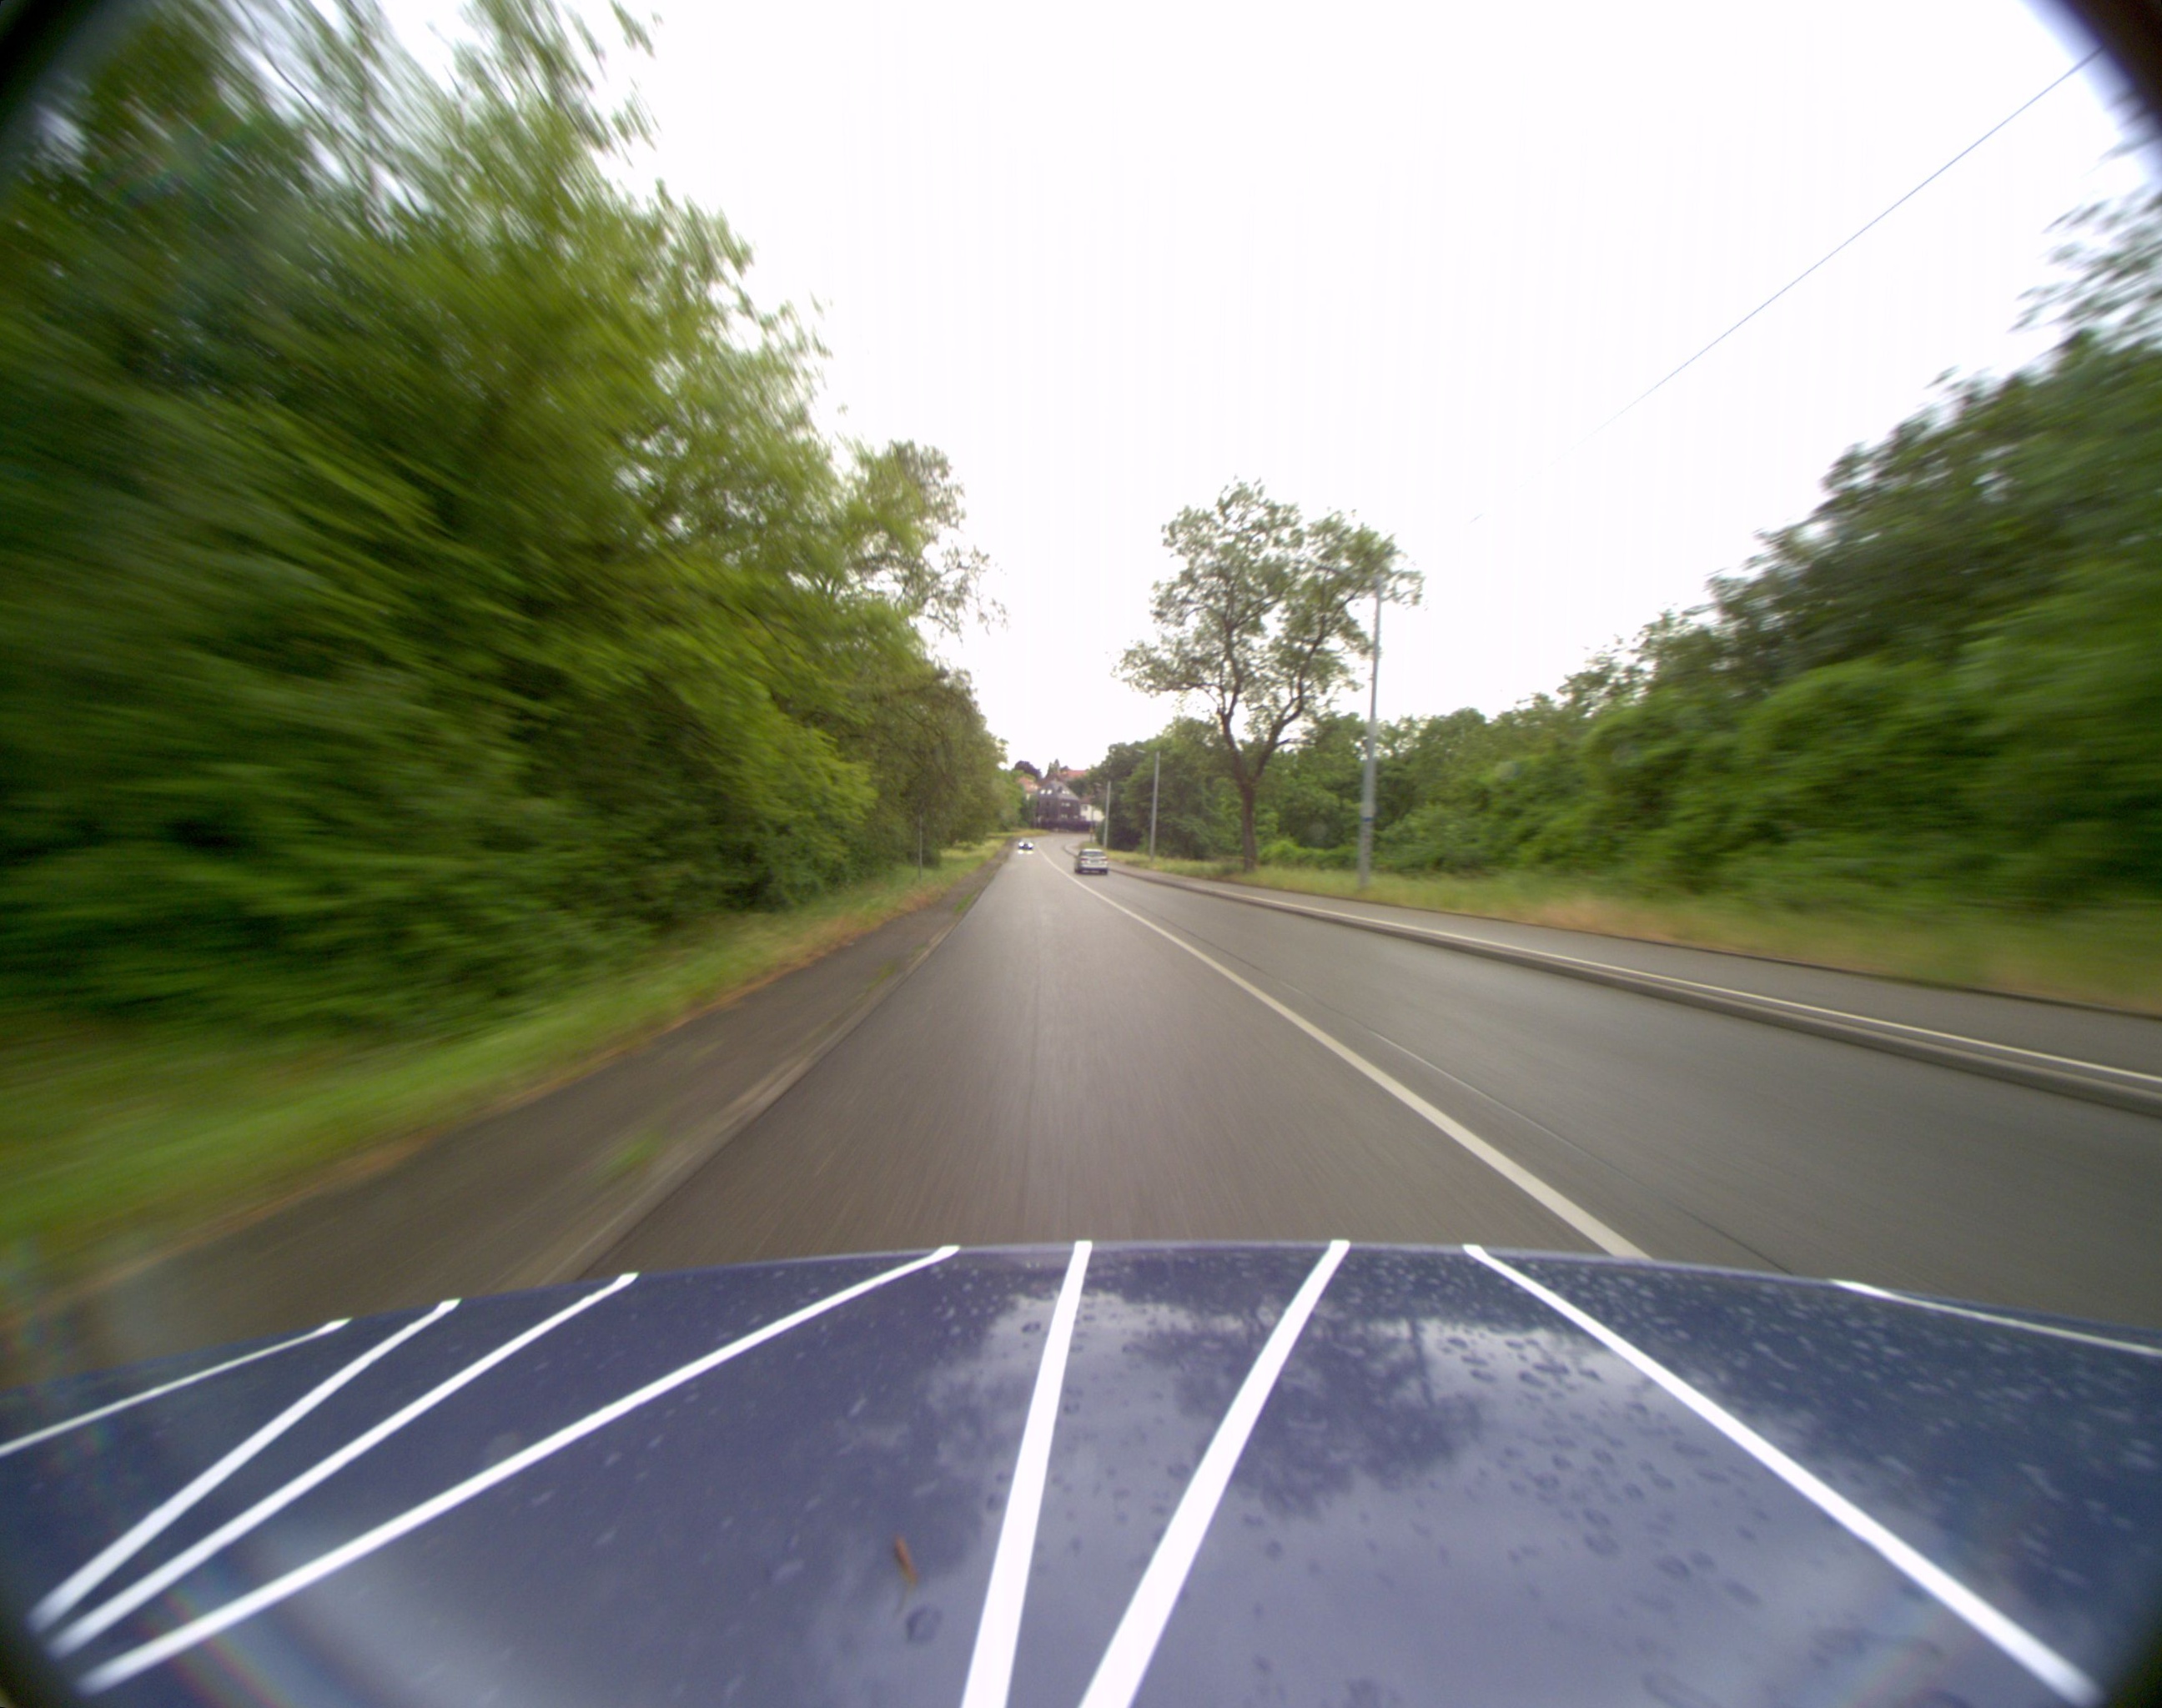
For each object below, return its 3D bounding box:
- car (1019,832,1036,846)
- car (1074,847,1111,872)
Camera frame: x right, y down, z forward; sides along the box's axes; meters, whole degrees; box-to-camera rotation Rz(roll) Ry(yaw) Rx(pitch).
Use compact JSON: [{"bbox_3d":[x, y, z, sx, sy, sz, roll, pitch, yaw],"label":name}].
[{"bbox_3d":[-7.030,-1.993,100.012,1.999,1.707,3.997,1,3,-1],"label":"car"},{"bbox_3d":[0.641,0.310,45.897,1.785,1.422,4.472,0,0,-5],"label":"car"}]
